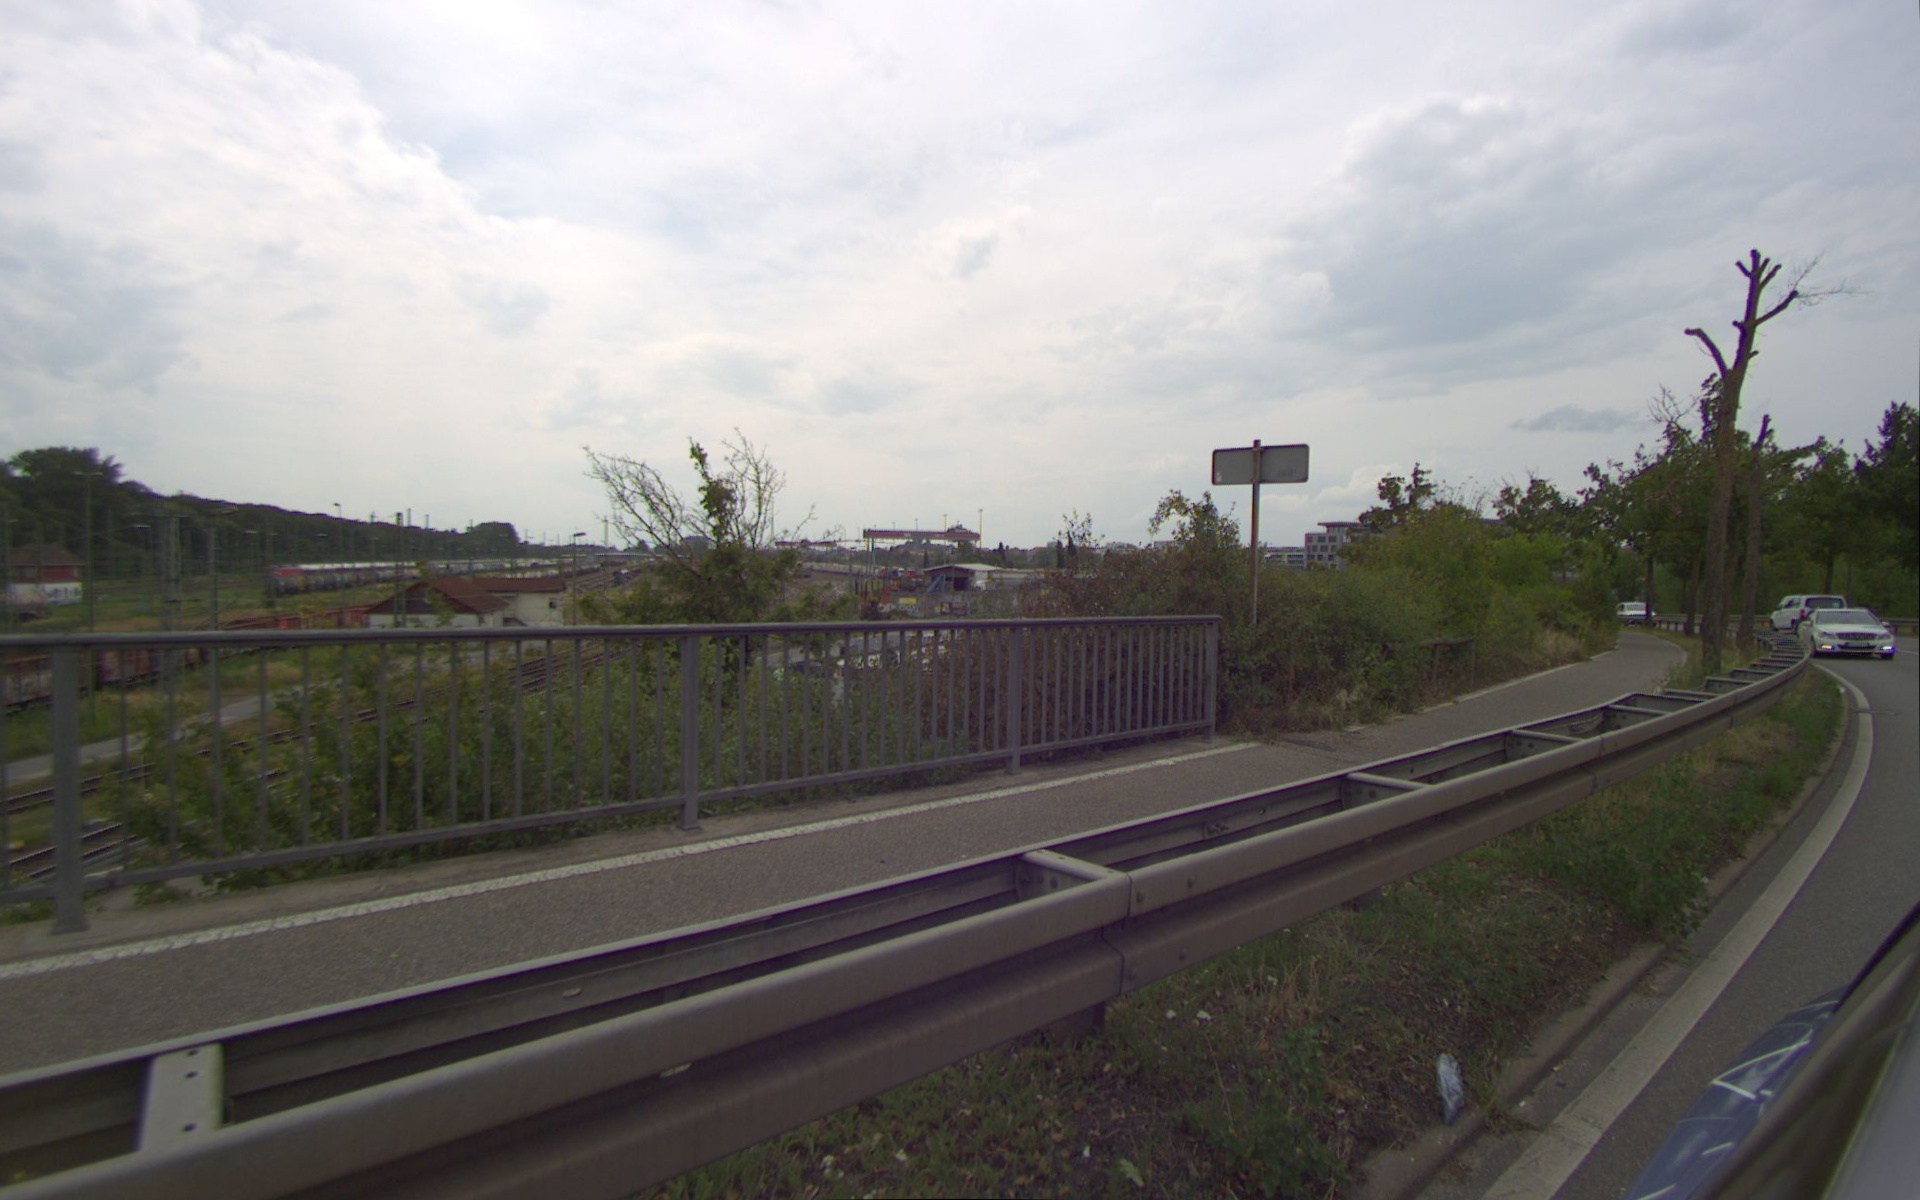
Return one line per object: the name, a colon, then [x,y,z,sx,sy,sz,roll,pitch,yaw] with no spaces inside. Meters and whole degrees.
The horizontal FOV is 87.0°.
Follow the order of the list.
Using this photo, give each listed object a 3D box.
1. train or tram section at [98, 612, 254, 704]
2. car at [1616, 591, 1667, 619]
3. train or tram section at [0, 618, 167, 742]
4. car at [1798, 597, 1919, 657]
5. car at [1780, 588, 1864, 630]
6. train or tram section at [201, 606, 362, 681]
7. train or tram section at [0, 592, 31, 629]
train or tram section: [-58.072,3.986,75.776,3.724,5.694,15.598,0,1,-16]
car: [44.181,0.327,65.720,1.941,1.726,4.397,1,0,23]
train or tram section: [-53.443,4.292,59.556,3.877,5.713,18.316,0,1,-15]
car: [26.286,0.734,29.706,1.922,1.474,3.847,1,3,30]
car: [41.310,0.407,48.618,1.943,1.909,4.393,1,0,25]
train or tram section: [-63.218,3.648,95.806,3.909,5.548,25.747,0,1,-13]
train or tram section: [-110.160,1.234,114.207,3.184,4.220,11.411,0,1,-17]
